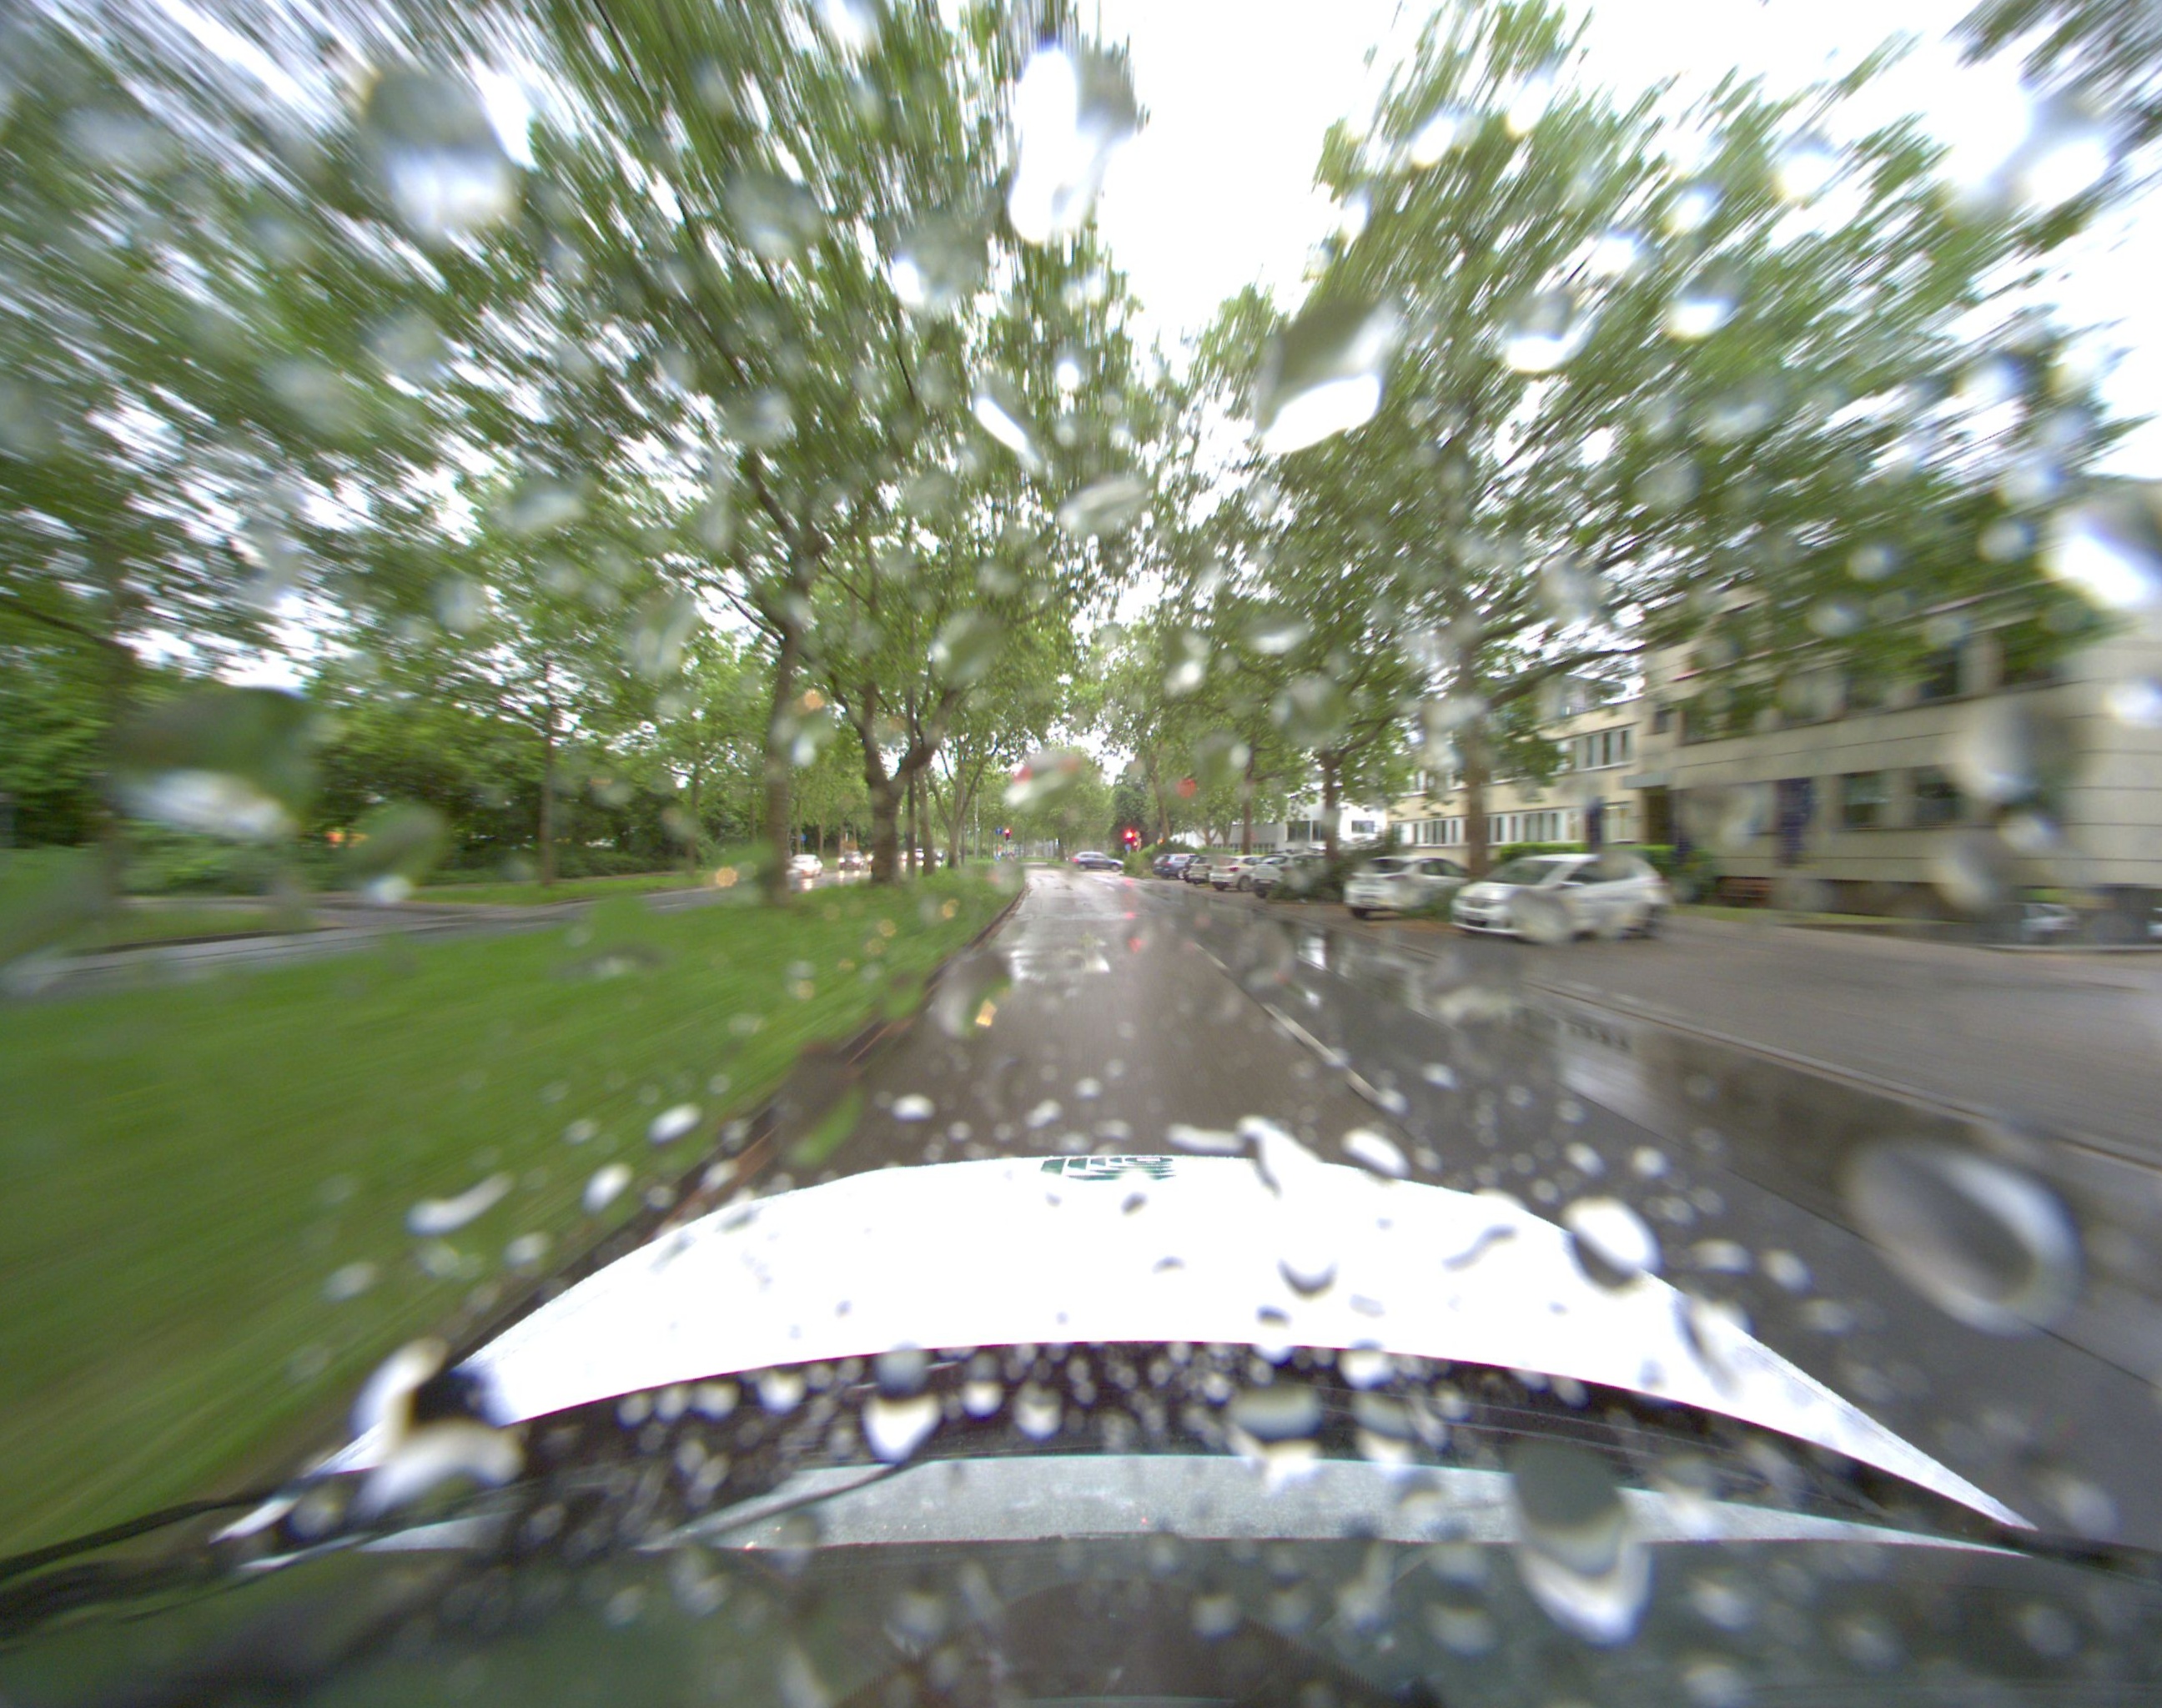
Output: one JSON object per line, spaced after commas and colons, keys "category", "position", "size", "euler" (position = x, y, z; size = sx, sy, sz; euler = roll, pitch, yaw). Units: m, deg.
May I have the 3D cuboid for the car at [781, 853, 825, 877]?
{"category": "car", "position": [-17.912, 0.697, 52.606], "size": [1.741, 1.476, 4.074], "euler": [1, -1, -6]}

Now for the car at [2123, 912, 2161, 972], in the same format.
{"category": "car", "position": [29.980, 2.312, 21.129], "size": [3.986, 1.495, 1.994], "euler": [0, 0, -9]}

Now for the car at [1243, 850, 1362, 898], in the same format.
{"category": "car", "position": [7.686, 0.689, 28.111], "size": [4.053, 1.539, 1.731], "euler": [1, -1, -34]}

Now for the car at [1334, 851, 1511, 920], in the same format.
{"category": "car", "position": [7.909, 0.690, 18.768], "size": [4.052, 1.428, 1.731], "euler": [1, -1, -32]}

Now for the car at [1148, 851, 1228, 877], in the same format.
{"category": "car", "position": [6.276, 0.616, 47.849], "size": [4.507, 1.459, 1.733], "euler": [1, -1, -29]}

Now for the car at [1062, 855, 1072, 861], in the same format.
{"category": "car", "position": [-3.405, 0.937, 200.112], "size": [1.578, 1.373, 4.273], "euler": [1, -1, 9]}

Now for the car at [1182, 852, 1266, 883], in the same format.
{"category": "car", "position": [6.826, 0.657, 38.830], "size": [3.705, 1.416, 1.758], "euler": [1, -1, -32]}

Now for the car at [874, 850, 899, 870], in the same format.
{"category": "car", "position": [-16.530, 0.511, 69.506], "size": [1.743, 1.591, 4.316], "euler": [1, -1, -9]}

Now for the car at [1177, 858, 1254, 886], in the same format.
{"category": "car", "position": [6.967, 0.935, 42.110], "size": [3.705, 1.416, 1.731], "euler": [1, -1, -32]}

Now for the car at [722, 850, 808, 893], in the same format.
{"category": "car", "position": [-11.633, 0.622, 30.284], "size": [1.740, 1.476, 4.402], "euler": [1, -1, -5]}

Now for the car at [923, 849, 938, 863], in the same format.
{"category": "car", "position": [-20.947, 0.252, 113.448], "size": [1.742, 1.842, 5.107], "euler": [1, -1, -7]}

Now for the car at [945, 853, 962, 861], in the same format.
{"category": "car", "position": [-21.468, 0.556, 136.994], "size": [1.578, 1.373, 4.272], "euler": [1, -1, 9]}

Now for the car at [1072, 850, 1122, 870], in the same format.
{"category": "car", "position": [1.403, 0.559, 71.043], "size": [4.272, 1.650, 1.751], "euler": [1, -1, 4]}

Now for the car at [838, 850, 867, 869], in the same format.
{"category": "car", "position": [-20.201, 0.469, 72.201], "size": [1.741, 1.591, 4.201], "euler": [1, -1, -6]}

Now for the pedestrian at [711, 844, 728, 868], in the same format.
{"category": "pedestrian", "position": [-25.245, 0.160, 56.815], "size": [0.830, 1.674, 0.897], "euler": [1, -1, -7]}

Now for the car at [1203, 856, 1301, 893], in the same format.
{"category": "car", "position": [6.992, 0.823, 33.283], "size": [3.702, 1.416, 1.733], "euler": [1, -1, -29]}

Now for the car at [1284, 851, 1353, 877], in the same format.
{"category": "car", "position": [17.252, 0.722, 59.262], "size": [4.536, 1.757, 1.775], "euler": [1, -1, -9]}

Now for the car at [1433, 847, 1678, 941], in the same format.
{"category": "car", "position": [8.359, 0.639, 14.430], "size": [3.642, 1.504, 1.740], "euler": [0, 0, -16]}
